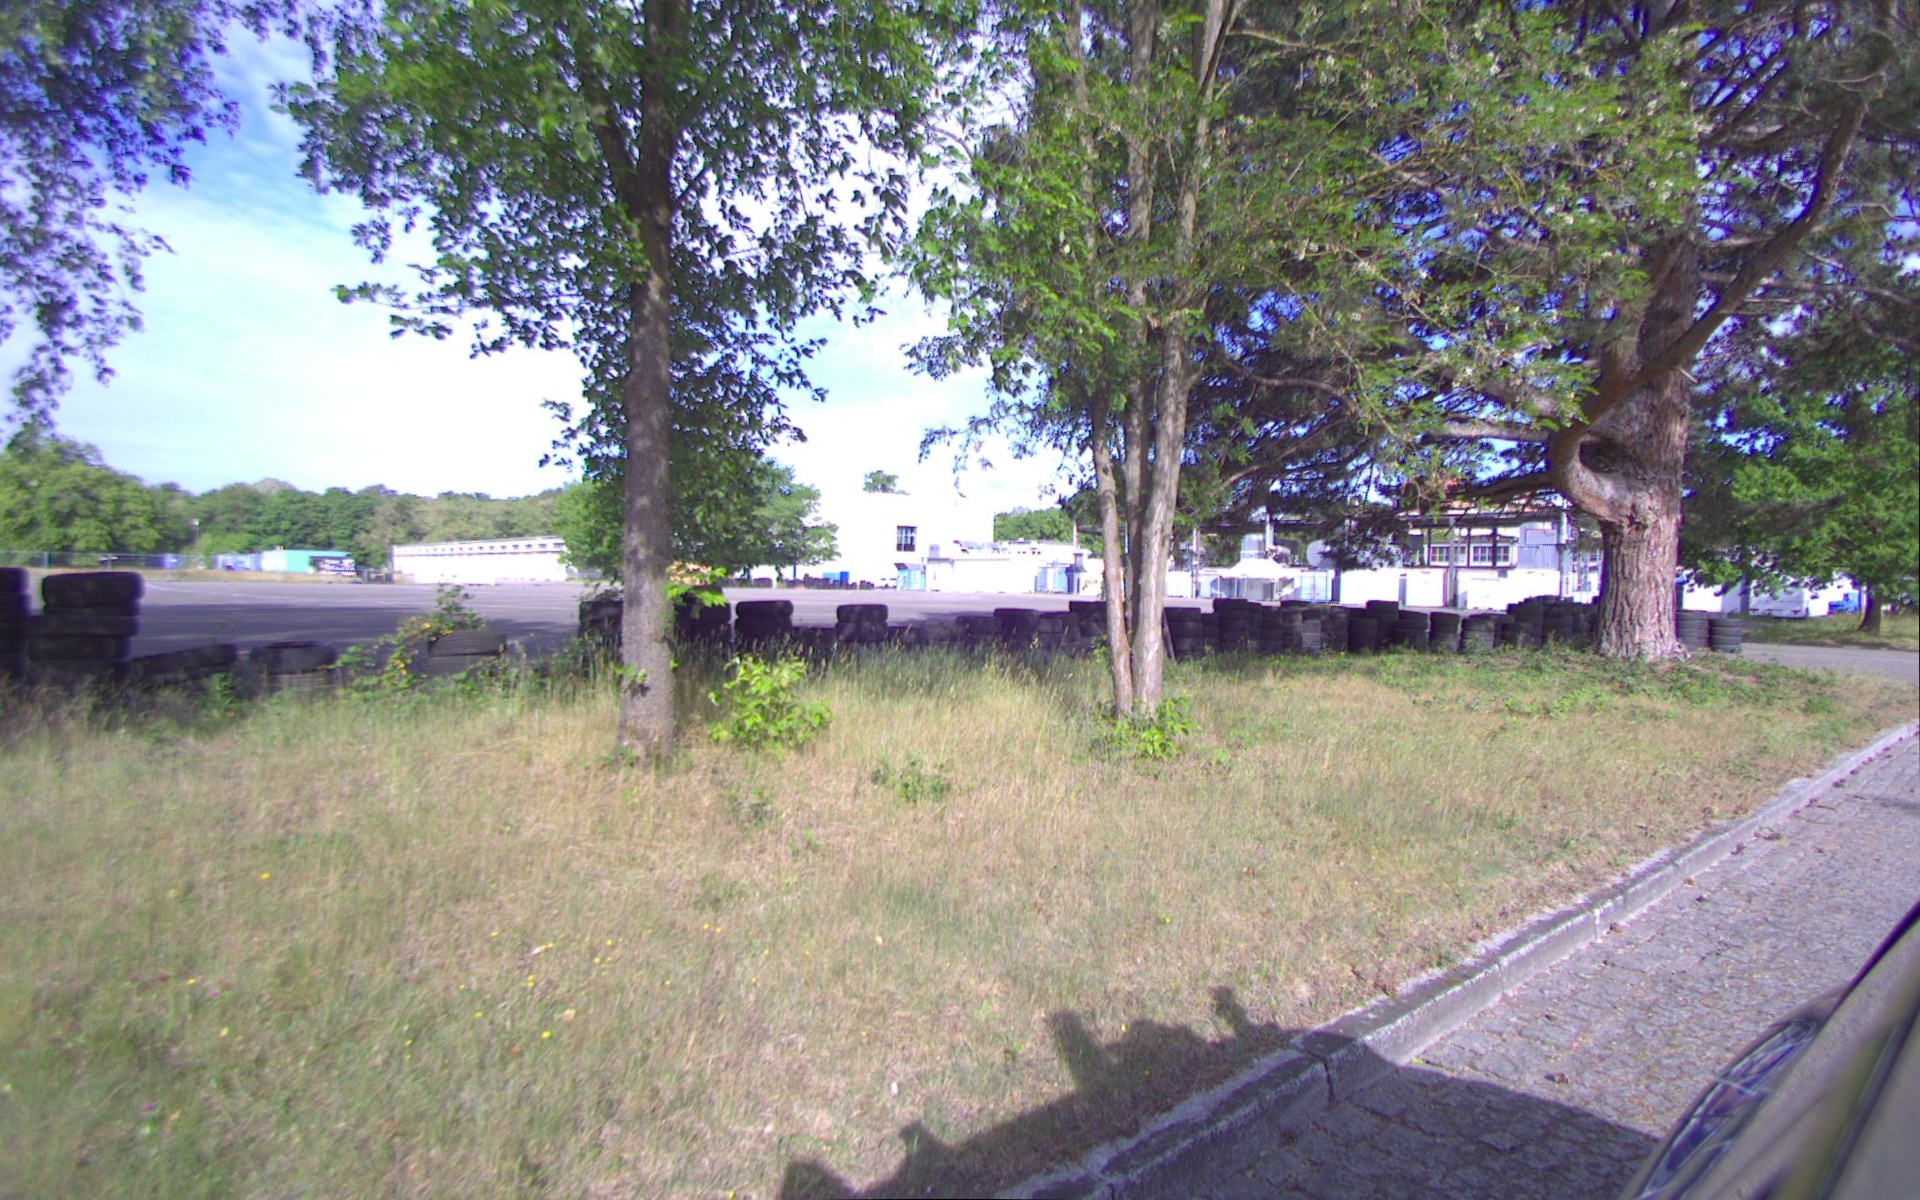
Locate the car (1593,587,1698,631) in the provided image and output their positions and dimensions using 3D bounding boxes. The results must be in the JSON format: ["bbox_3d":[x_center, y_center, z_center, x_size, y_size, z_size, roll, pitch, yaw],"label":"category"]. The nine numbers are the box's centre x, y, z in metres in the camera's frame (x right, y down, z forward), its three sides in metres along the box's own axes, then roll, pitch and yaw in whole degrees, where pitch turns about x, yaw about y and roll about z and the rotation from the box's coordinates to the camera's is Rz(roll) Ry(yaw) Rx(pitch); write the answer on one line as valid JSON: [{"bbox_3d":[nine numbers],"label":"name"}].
[{"bbox_3d":[25.089,0.301,37.001,3.923,1.467,1.849,0,1,-35],"label":"car"}]
